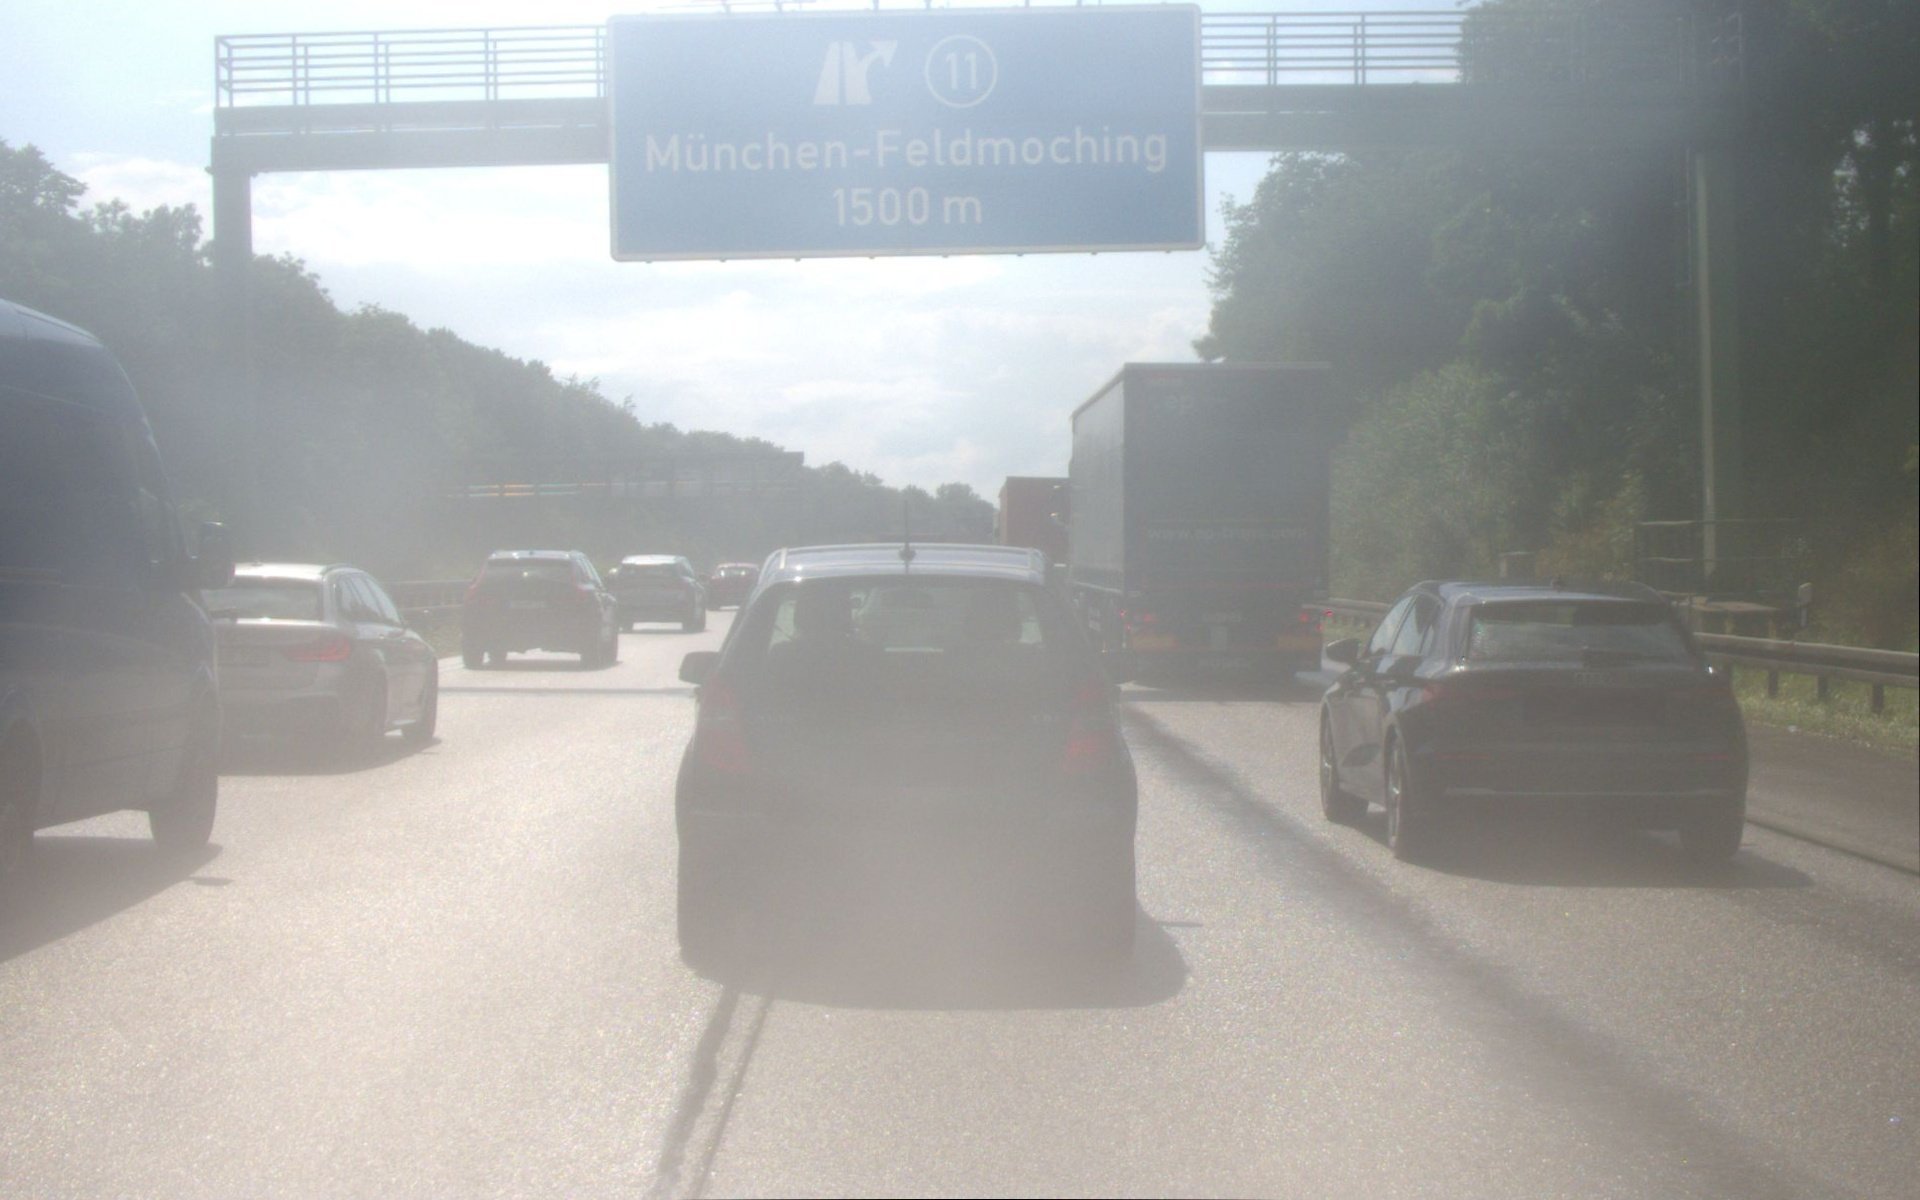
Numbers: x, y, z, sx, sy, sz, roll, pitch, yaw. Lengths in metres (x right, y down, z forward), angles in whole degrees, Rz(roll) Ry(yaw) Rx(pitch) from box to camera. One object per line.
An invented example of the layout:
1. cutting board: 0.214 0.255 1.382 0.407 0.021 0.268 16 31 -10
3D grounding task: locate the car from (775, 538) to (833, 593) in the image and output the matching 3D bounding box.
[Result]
1. car: -5.863 -1.296 129.429 1.993 2.007 4.000 1 0 0

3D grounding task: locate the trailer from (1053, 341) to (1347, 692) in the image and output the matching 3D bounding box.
1. trailer: 3.143 -1.105 49.353 3.088 4.298 14.105 0 1 0

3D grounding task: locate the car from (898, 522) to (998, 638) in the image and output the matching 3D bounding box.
1. car: -0.217 -0.358 59.686 1.675 1.929 3.773 0 1 0

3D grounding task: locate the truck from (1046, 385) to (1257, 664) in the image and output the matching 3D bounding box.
1. truck: 3.068 -1.204 56.606 3.052 4.310 5.886 1 0 0

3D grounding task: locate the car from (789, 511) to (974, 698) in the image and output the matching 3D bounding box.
1. car: -0.879 0.037 39.441 1.993 2.007 4.000 1 0 -1

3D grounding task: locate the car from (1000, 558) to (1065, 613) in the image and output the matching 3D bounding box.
1. car: 1.983 -0.404 94.682 1.675 1.485 3.437 0 1 0

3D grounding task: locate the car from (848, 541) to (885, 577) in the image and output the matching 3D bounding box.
1. car: -5.325 -2.344 196.513 1.993 2.007 4.000 1 0 0

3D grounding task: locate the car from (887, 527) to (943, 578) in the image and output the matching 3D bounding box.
1. car: -1.334 -1.418 103.077 1.631 1.485 3.437 0 1 0

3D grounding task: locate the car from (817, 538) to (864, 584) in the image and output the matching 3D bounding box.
1. car: -5.315 -1.743 153.125 1.993 2.007 4.000 1 0 0

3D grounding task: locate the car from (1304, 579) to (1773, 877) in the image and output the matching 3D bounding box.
1. car: 2.977 0.597 18.588 1.755 1.391 4.368 0 1 0

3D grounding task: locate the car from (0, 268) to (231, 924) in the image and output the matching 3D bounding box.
1. car: -4.880 -0.038 15.462 2.015 2.639 5.777 0 1 0

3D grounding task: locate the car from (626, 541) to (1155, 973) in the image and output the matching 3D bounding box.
1. car: -0.270 0.547 14.664 1.915 1.560 4.314 0 1 0

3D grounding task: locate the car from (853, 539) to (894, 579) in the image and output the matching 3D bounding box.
1. car: -4.424 -2.093 176.123 1.993 2.007 4.000 1 0 0

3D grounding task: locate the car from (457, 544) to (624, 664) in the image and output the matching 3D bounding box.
1. car: -5.934 0.033 49.053 1.893 1.622 4.195 0 1 0

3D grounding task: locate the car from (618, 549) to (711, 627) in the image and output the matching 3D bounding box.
1. car: -6.227 -0.272 72.692 1.675 1.591 3.437 0 1 0

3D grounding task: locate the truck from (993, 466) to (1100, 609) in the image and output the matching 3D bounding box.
1. truck: 2.714 -1.977 110.518 3.202 4.389 9.432 0 1 0

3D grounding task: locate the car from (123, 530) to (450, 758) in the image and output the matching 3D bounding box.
1. car: -5.094 0.288 26.523 1.758 1.589 4.331 1 1 -1

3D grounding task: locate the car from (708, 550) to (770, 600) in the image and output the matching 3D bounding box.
1. car: -6.689 -0.765 104.106 1.675 1.485 3.437 0 1 0

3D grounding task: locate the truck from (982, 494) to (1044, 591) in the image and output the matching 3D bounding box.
1. truck: 2.614 -2.849 174.279 2.882 4.671 12.659 1 0 0
